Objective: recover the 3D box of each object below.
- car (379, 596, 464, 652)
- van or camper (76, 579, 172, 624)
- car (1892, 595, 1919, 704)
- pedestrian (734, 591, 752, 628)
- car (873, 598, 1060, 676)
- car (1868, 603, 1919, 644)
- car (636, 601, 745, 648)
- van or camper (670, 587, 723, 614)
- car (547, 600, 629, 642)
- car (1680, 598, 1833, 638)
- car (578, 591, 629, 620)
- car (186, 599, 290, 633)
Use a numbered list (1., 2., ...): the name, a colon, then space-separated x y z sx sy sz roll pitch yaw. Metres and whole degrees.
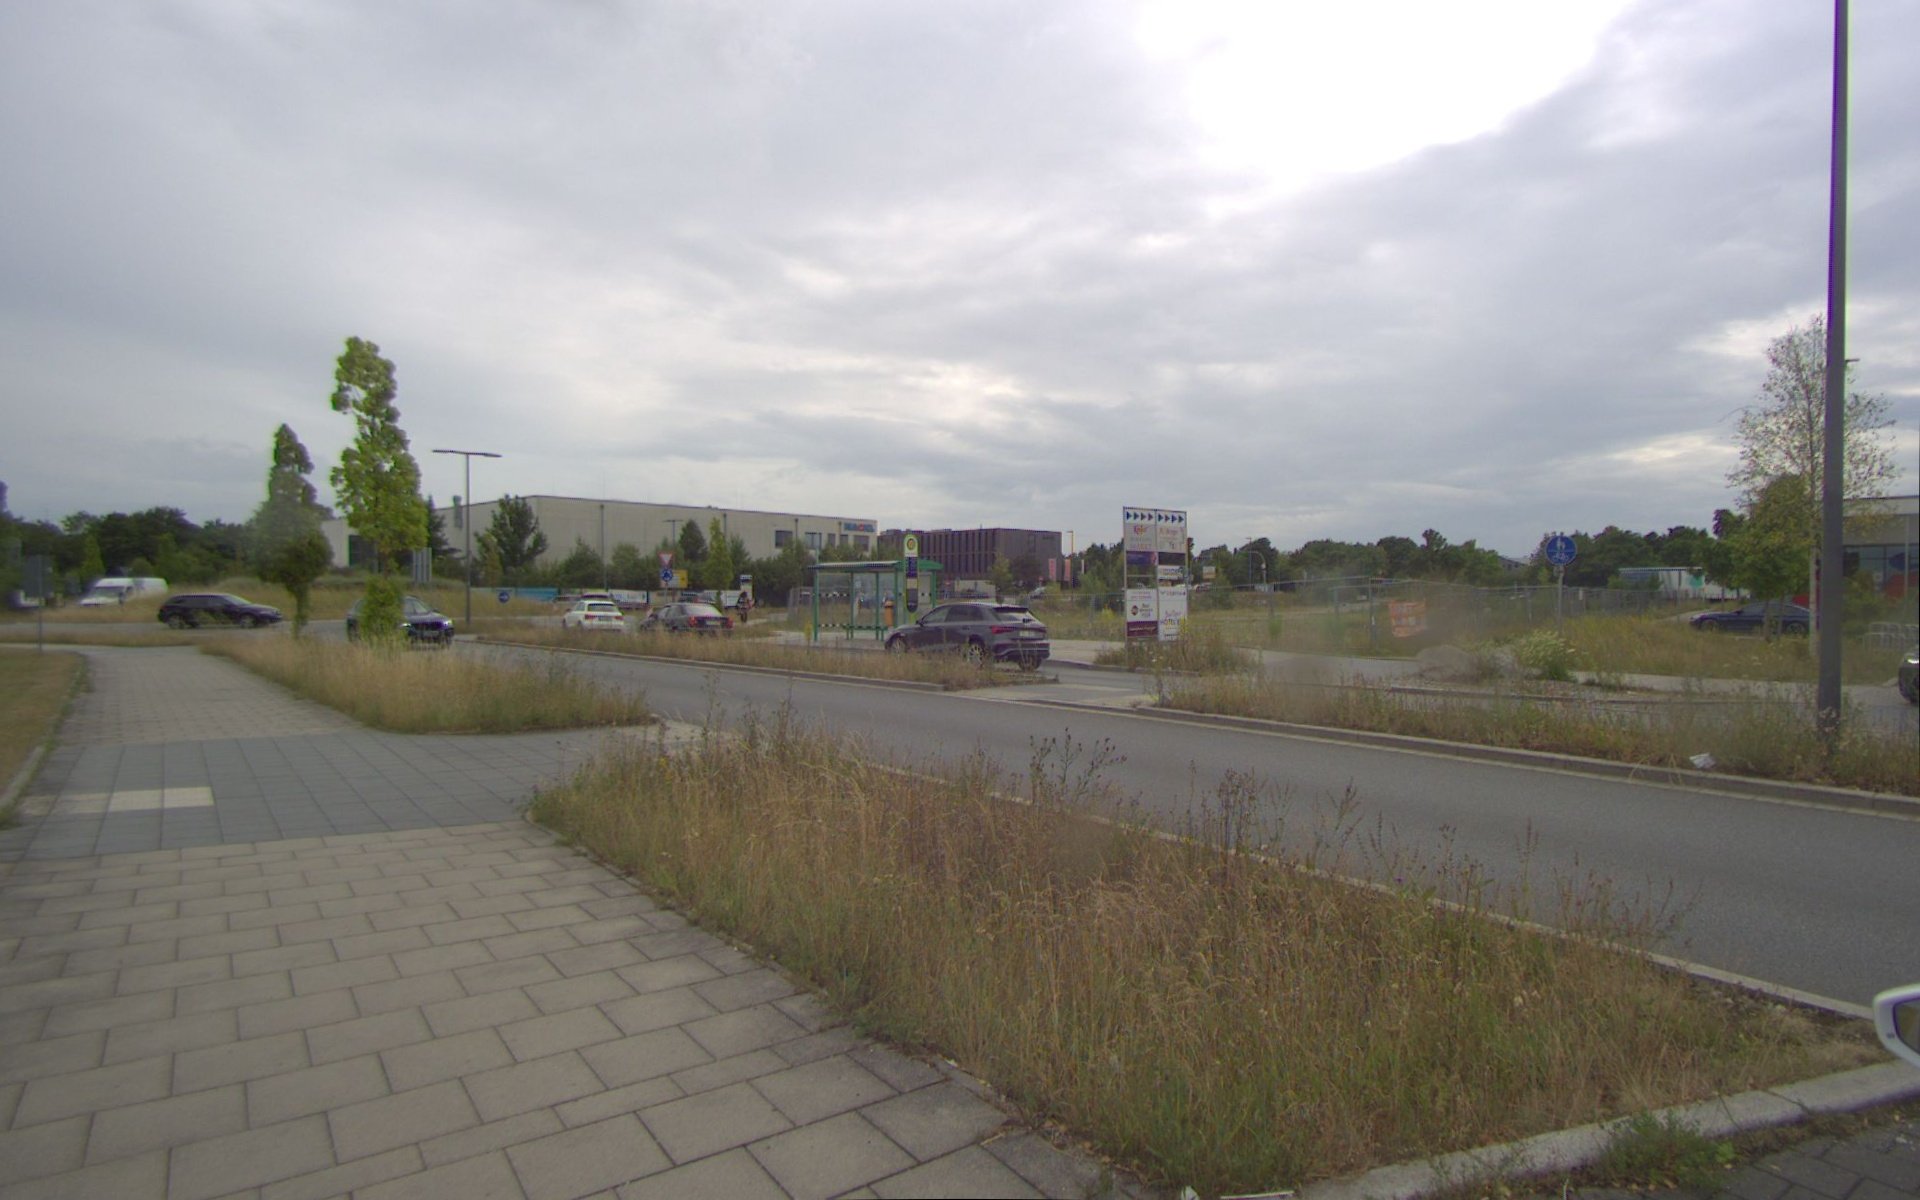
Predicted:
1. car: -17.571 0.716 32.679 1.877 1.662 3.958 0 1 -37
2. van or camper: -51.660 0.075 62.230 1.963 2.617 5.457 1 1 -9
3. car: 15.213 0.640 14.010 4.549 1.465 1.773 -1 1 -26
4. pedestrian: -10.553 0.450 48.842 0.729 1.745 0.650 1 1 -5
5. car: 0.053 0.722 22.149 1.783 1.486 4.269 -1 1 -41
6. car: 34.334 0.853 34.864 1.984 1.370 3.952 0 1 -41
7. car: -9.096 0.784 33.716 1.778 1.414 4.317 1 0 -42
8. van or camper: -18.407 0.027 70.459 1.959 1.772 4.574 1 1 8
9. car: -14.949 0.811 40.283 1.745 1.500 4.006 0 1 -42
10. car: 34.520 0.740 43.668 1.985 1.578 4.961 0 1 -42
11. car: -18.049 0.264 51.040 1.687 1.361 4.058 1 1 -9
12. car: -30.079 0.637 41.936 3.248 1.372 1.551 0 1 -25
